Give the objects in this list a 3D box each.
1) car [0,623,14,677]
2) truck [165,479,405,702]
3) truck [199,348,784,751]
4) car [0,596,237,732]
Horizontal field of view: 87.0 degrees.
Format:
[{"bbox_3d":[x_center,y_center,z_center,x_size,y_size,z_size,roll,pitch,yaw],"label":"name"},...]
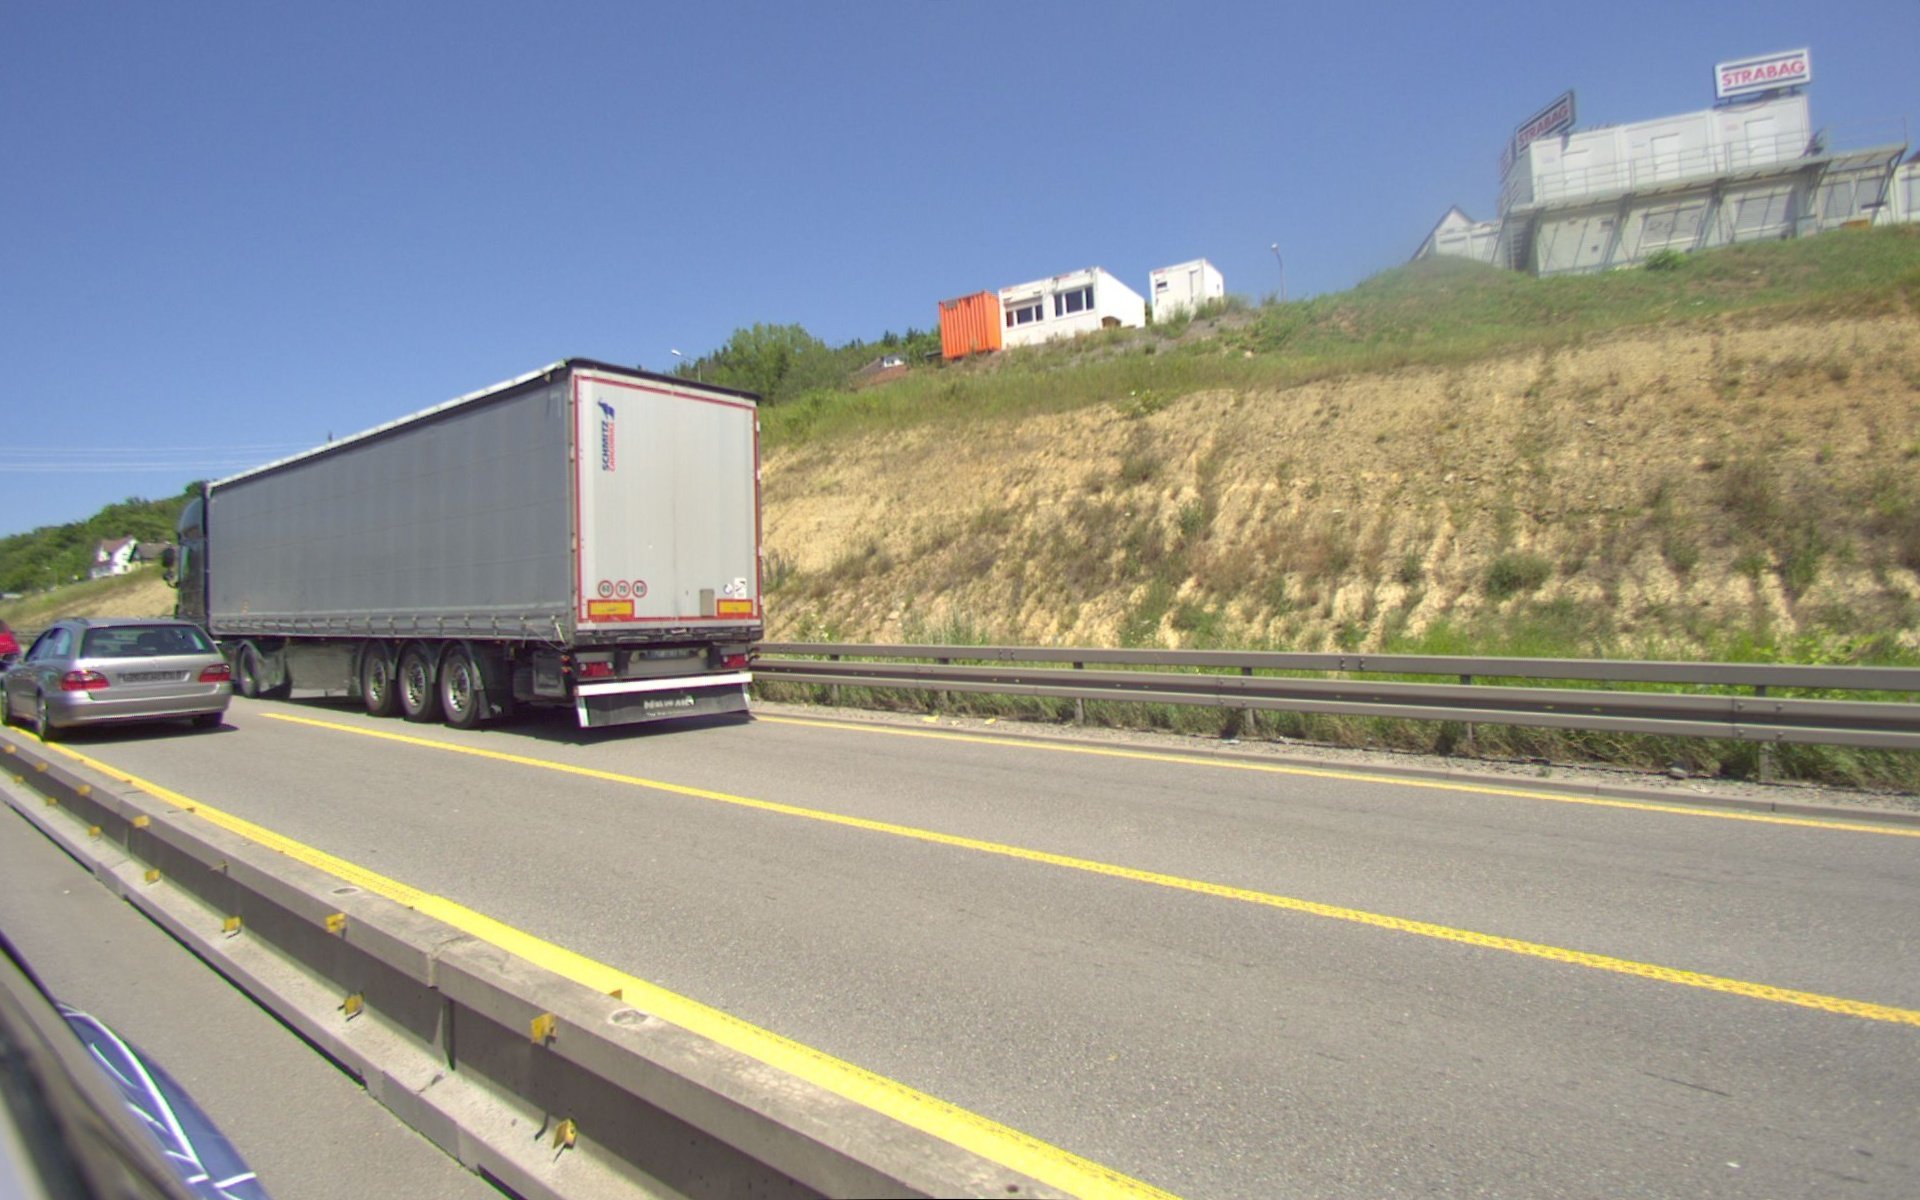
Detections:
[{"bbox_3d":[-27.979,1.407,28.520,3.292,1.498,1.574,-2,-1,40],"label":"car"},{"bbox_3d":[-13.702,-0.141,20.446,4.960,3.914,2.739,-2,0,40],"label":"truck"},{"bbox_3d":[-8.326,-0.398,15.848,13.795,4.118,2.739,-2,0,40],"label":"truck"},{"bbox_3d":[-11.136,0.752,13.212,4.193,1.498,1.808,-2,-1,40],"label":"car"}]
